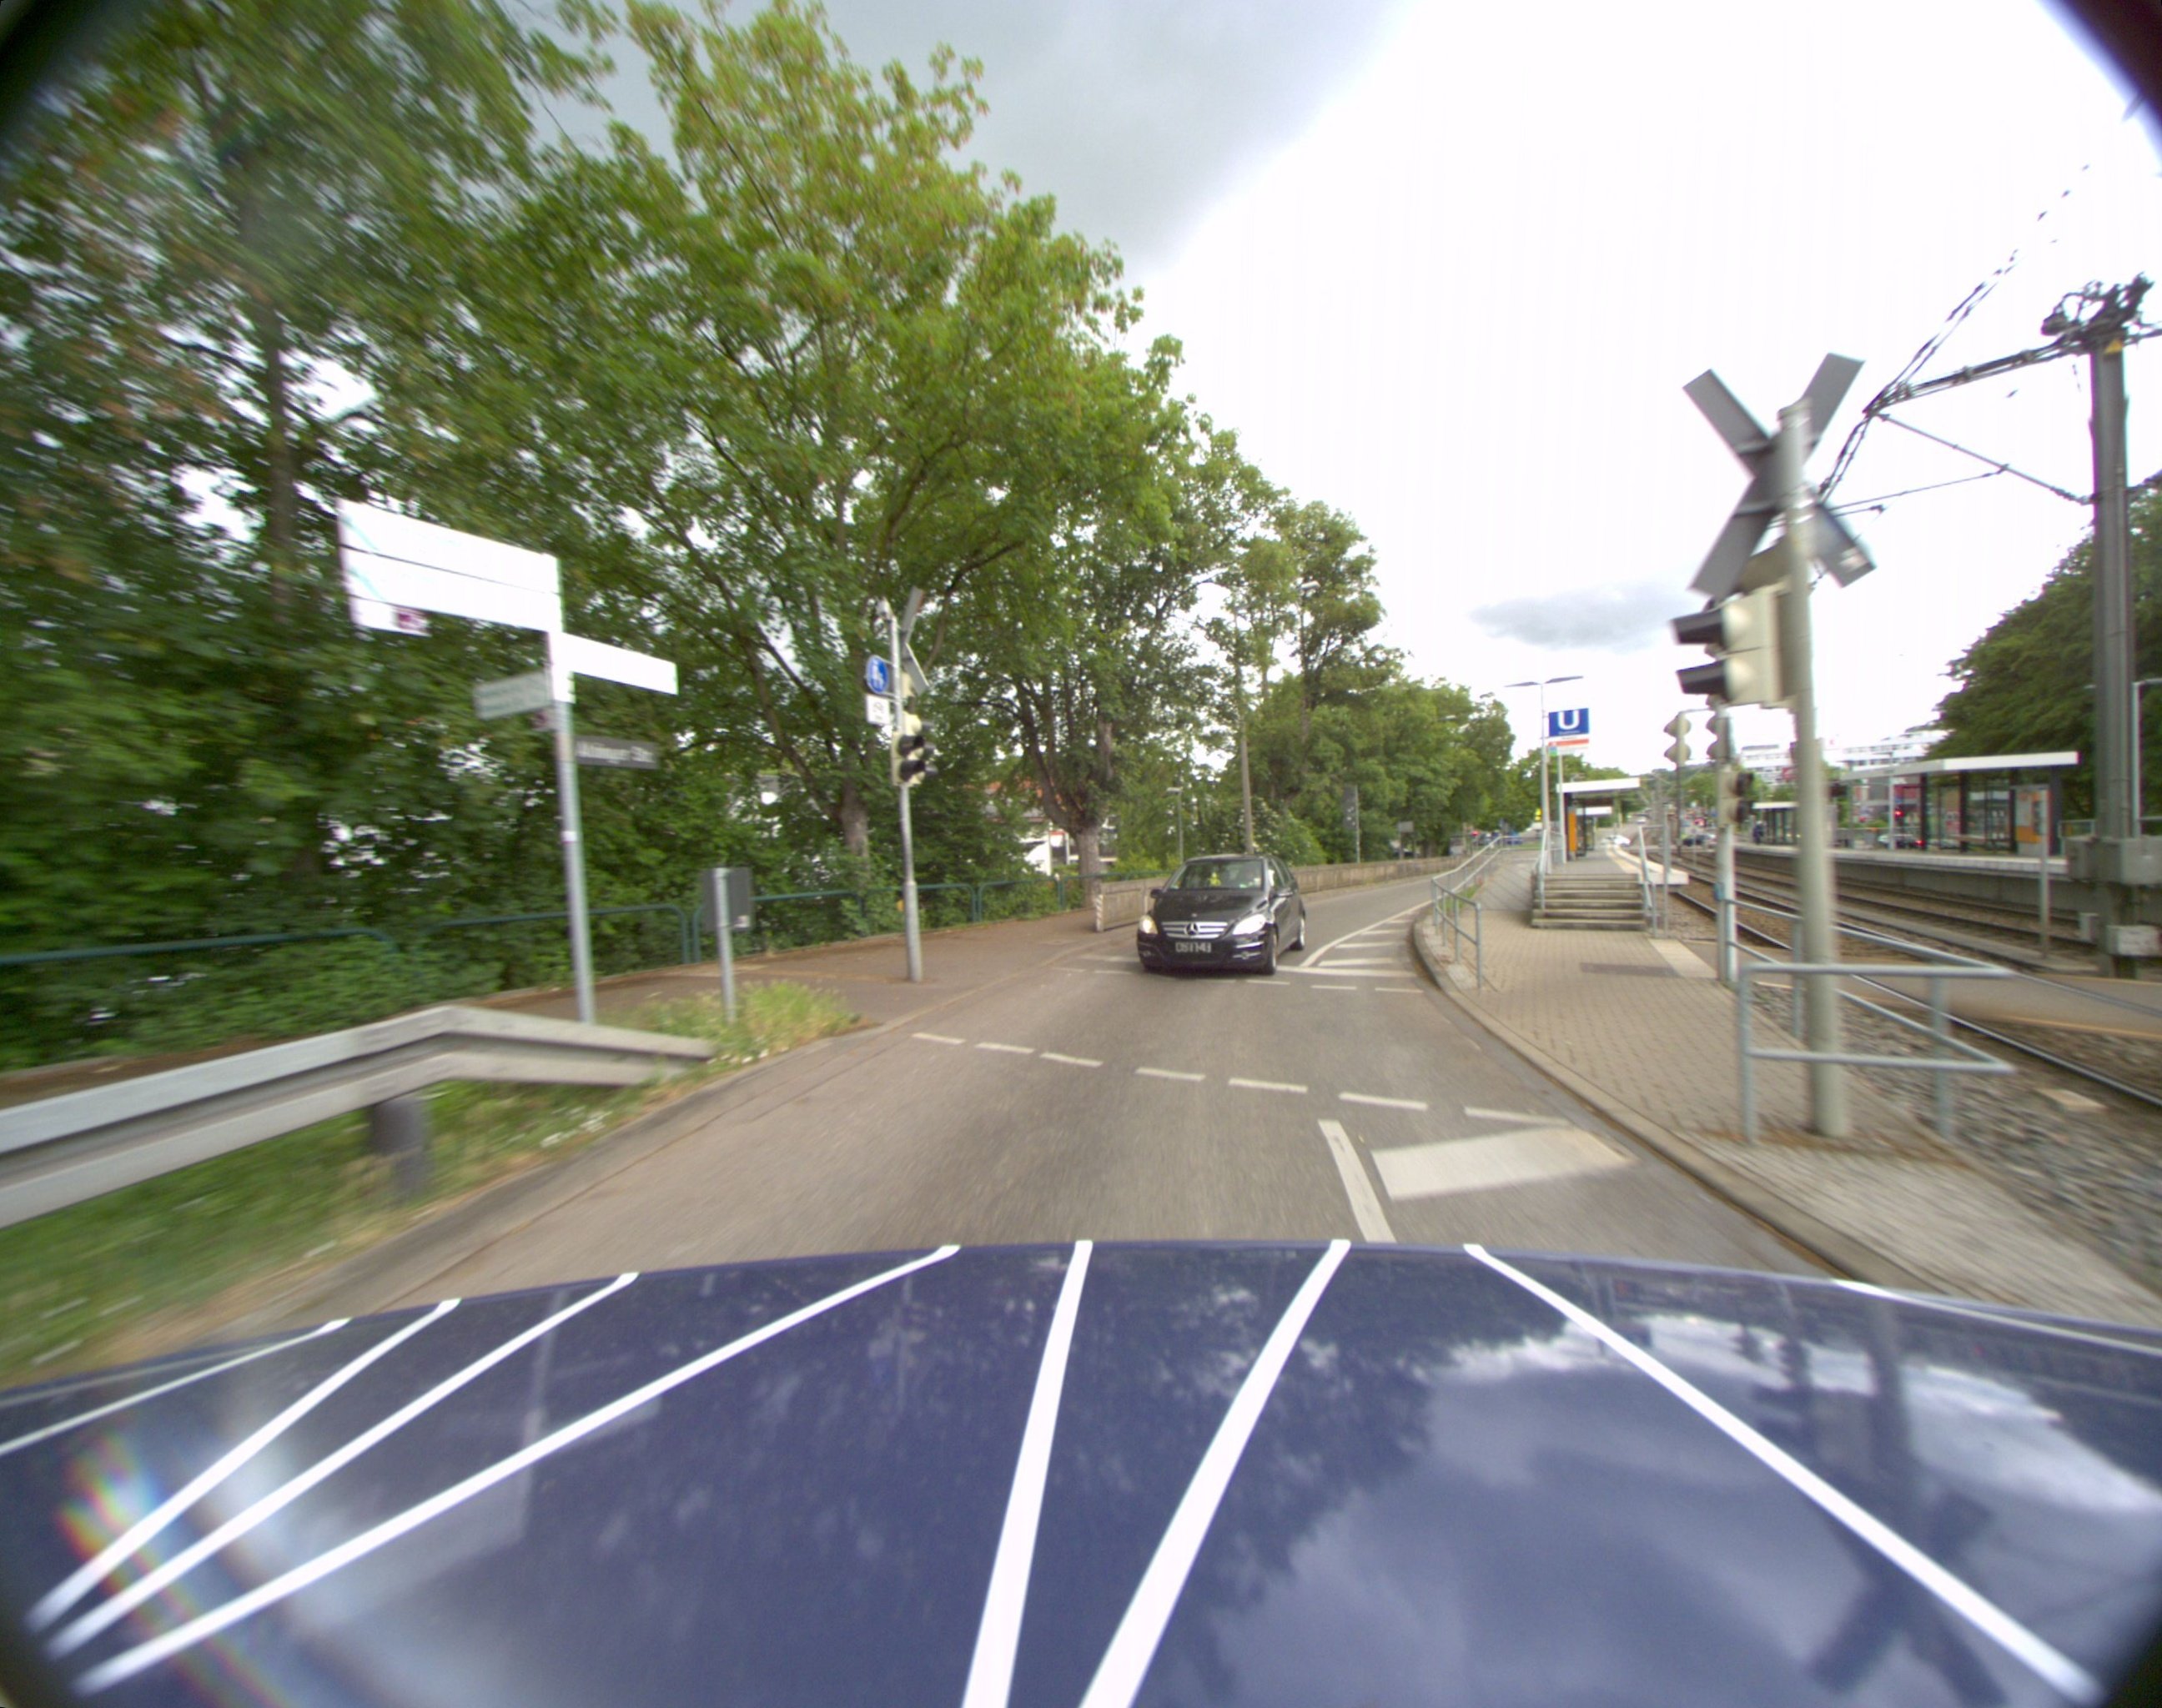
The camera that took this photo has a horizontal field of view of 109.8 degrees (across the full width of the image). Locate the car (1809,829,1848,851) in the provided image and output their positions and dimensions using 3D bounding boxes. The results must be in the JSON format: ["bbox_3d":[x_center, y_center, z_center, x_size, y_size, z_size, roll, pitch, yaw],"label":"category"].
[{"bbox_3d":[61.841,-1.172,62.907,1.767,1.689,3.801,0,1,36],"label":"car"}]

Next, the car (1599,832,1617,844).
[{"bbox_3d":[66.359,-2.028,95.774,1.699,1.470,3.715,-1,1,33],"label":"car"}]

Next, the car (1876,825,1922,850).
[{"bbox_3d":[63.831,-1.272,59.342,1.737,1.829,3.807,0,1,36],"label":"car"}]

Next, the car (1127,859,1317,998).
[{"bbox_3d":[2.296,0.890,11.236,1.708,1.573,4.450,0,0,25],"label":"car"}]
